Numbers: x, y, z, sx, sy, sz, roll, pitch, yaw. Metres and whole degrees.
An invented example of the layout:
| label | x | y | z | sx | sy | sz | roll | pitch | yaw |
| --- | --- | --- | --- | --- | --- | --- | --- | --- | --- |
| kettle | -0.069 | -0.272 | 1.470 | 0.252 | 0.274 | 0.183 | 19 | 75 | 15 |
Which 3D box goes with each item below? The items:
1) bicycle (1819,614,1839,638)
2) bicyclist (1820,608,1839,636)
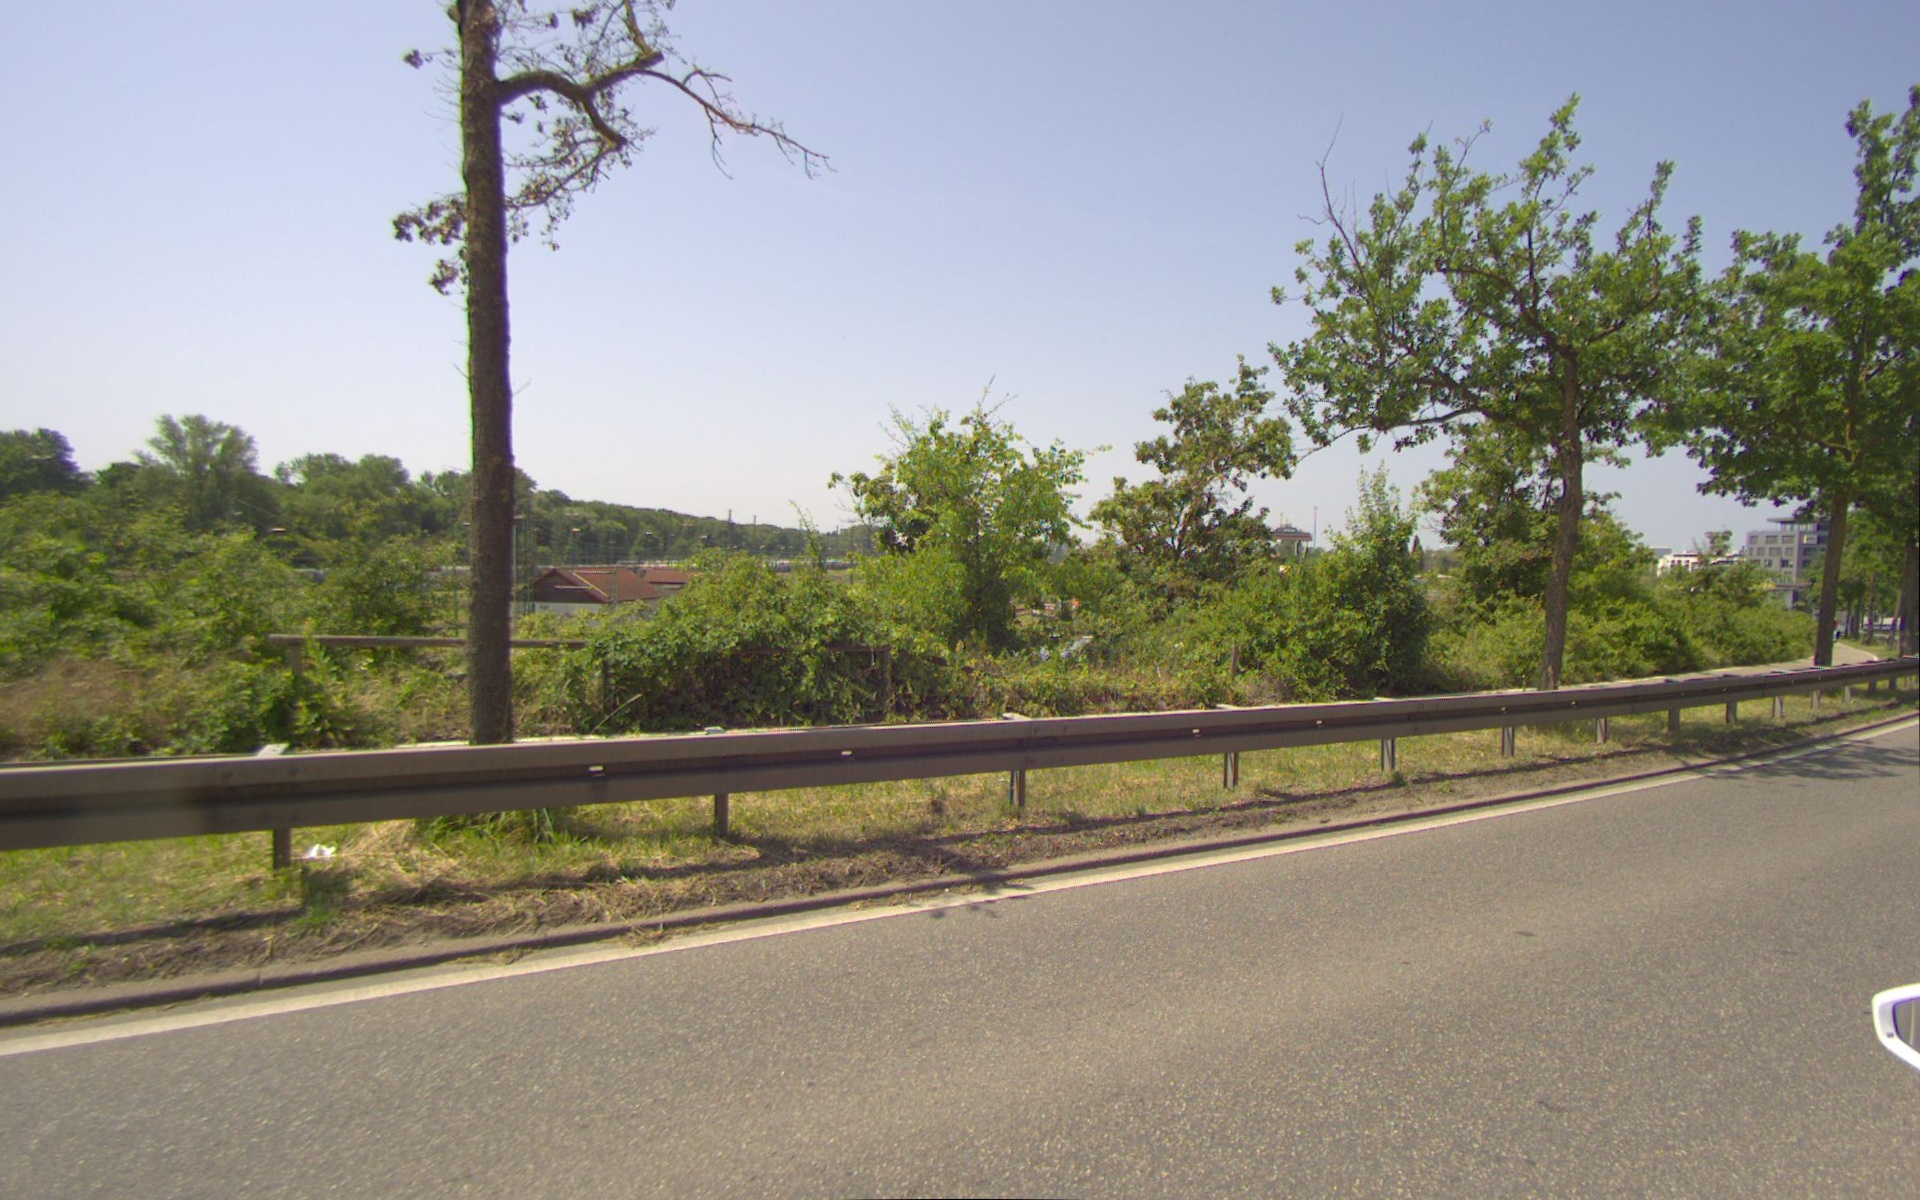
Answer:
| label | x | y | z | sx | sy | sz | roll | pitch | yaw |
| --- | --- | --- | --- | --- | --- | --- | --- | --- | --- |
| bicycle | 48.487 | 1.448 | 56.060 | 0.725 | 1.298 | 2.038 | 2 | 0 | 38 |
| bicyclist | 48.499 | 1.208 | 56.048 | 0.732 | 1.509 | 0.753 | 2 | 1 | 38 |
